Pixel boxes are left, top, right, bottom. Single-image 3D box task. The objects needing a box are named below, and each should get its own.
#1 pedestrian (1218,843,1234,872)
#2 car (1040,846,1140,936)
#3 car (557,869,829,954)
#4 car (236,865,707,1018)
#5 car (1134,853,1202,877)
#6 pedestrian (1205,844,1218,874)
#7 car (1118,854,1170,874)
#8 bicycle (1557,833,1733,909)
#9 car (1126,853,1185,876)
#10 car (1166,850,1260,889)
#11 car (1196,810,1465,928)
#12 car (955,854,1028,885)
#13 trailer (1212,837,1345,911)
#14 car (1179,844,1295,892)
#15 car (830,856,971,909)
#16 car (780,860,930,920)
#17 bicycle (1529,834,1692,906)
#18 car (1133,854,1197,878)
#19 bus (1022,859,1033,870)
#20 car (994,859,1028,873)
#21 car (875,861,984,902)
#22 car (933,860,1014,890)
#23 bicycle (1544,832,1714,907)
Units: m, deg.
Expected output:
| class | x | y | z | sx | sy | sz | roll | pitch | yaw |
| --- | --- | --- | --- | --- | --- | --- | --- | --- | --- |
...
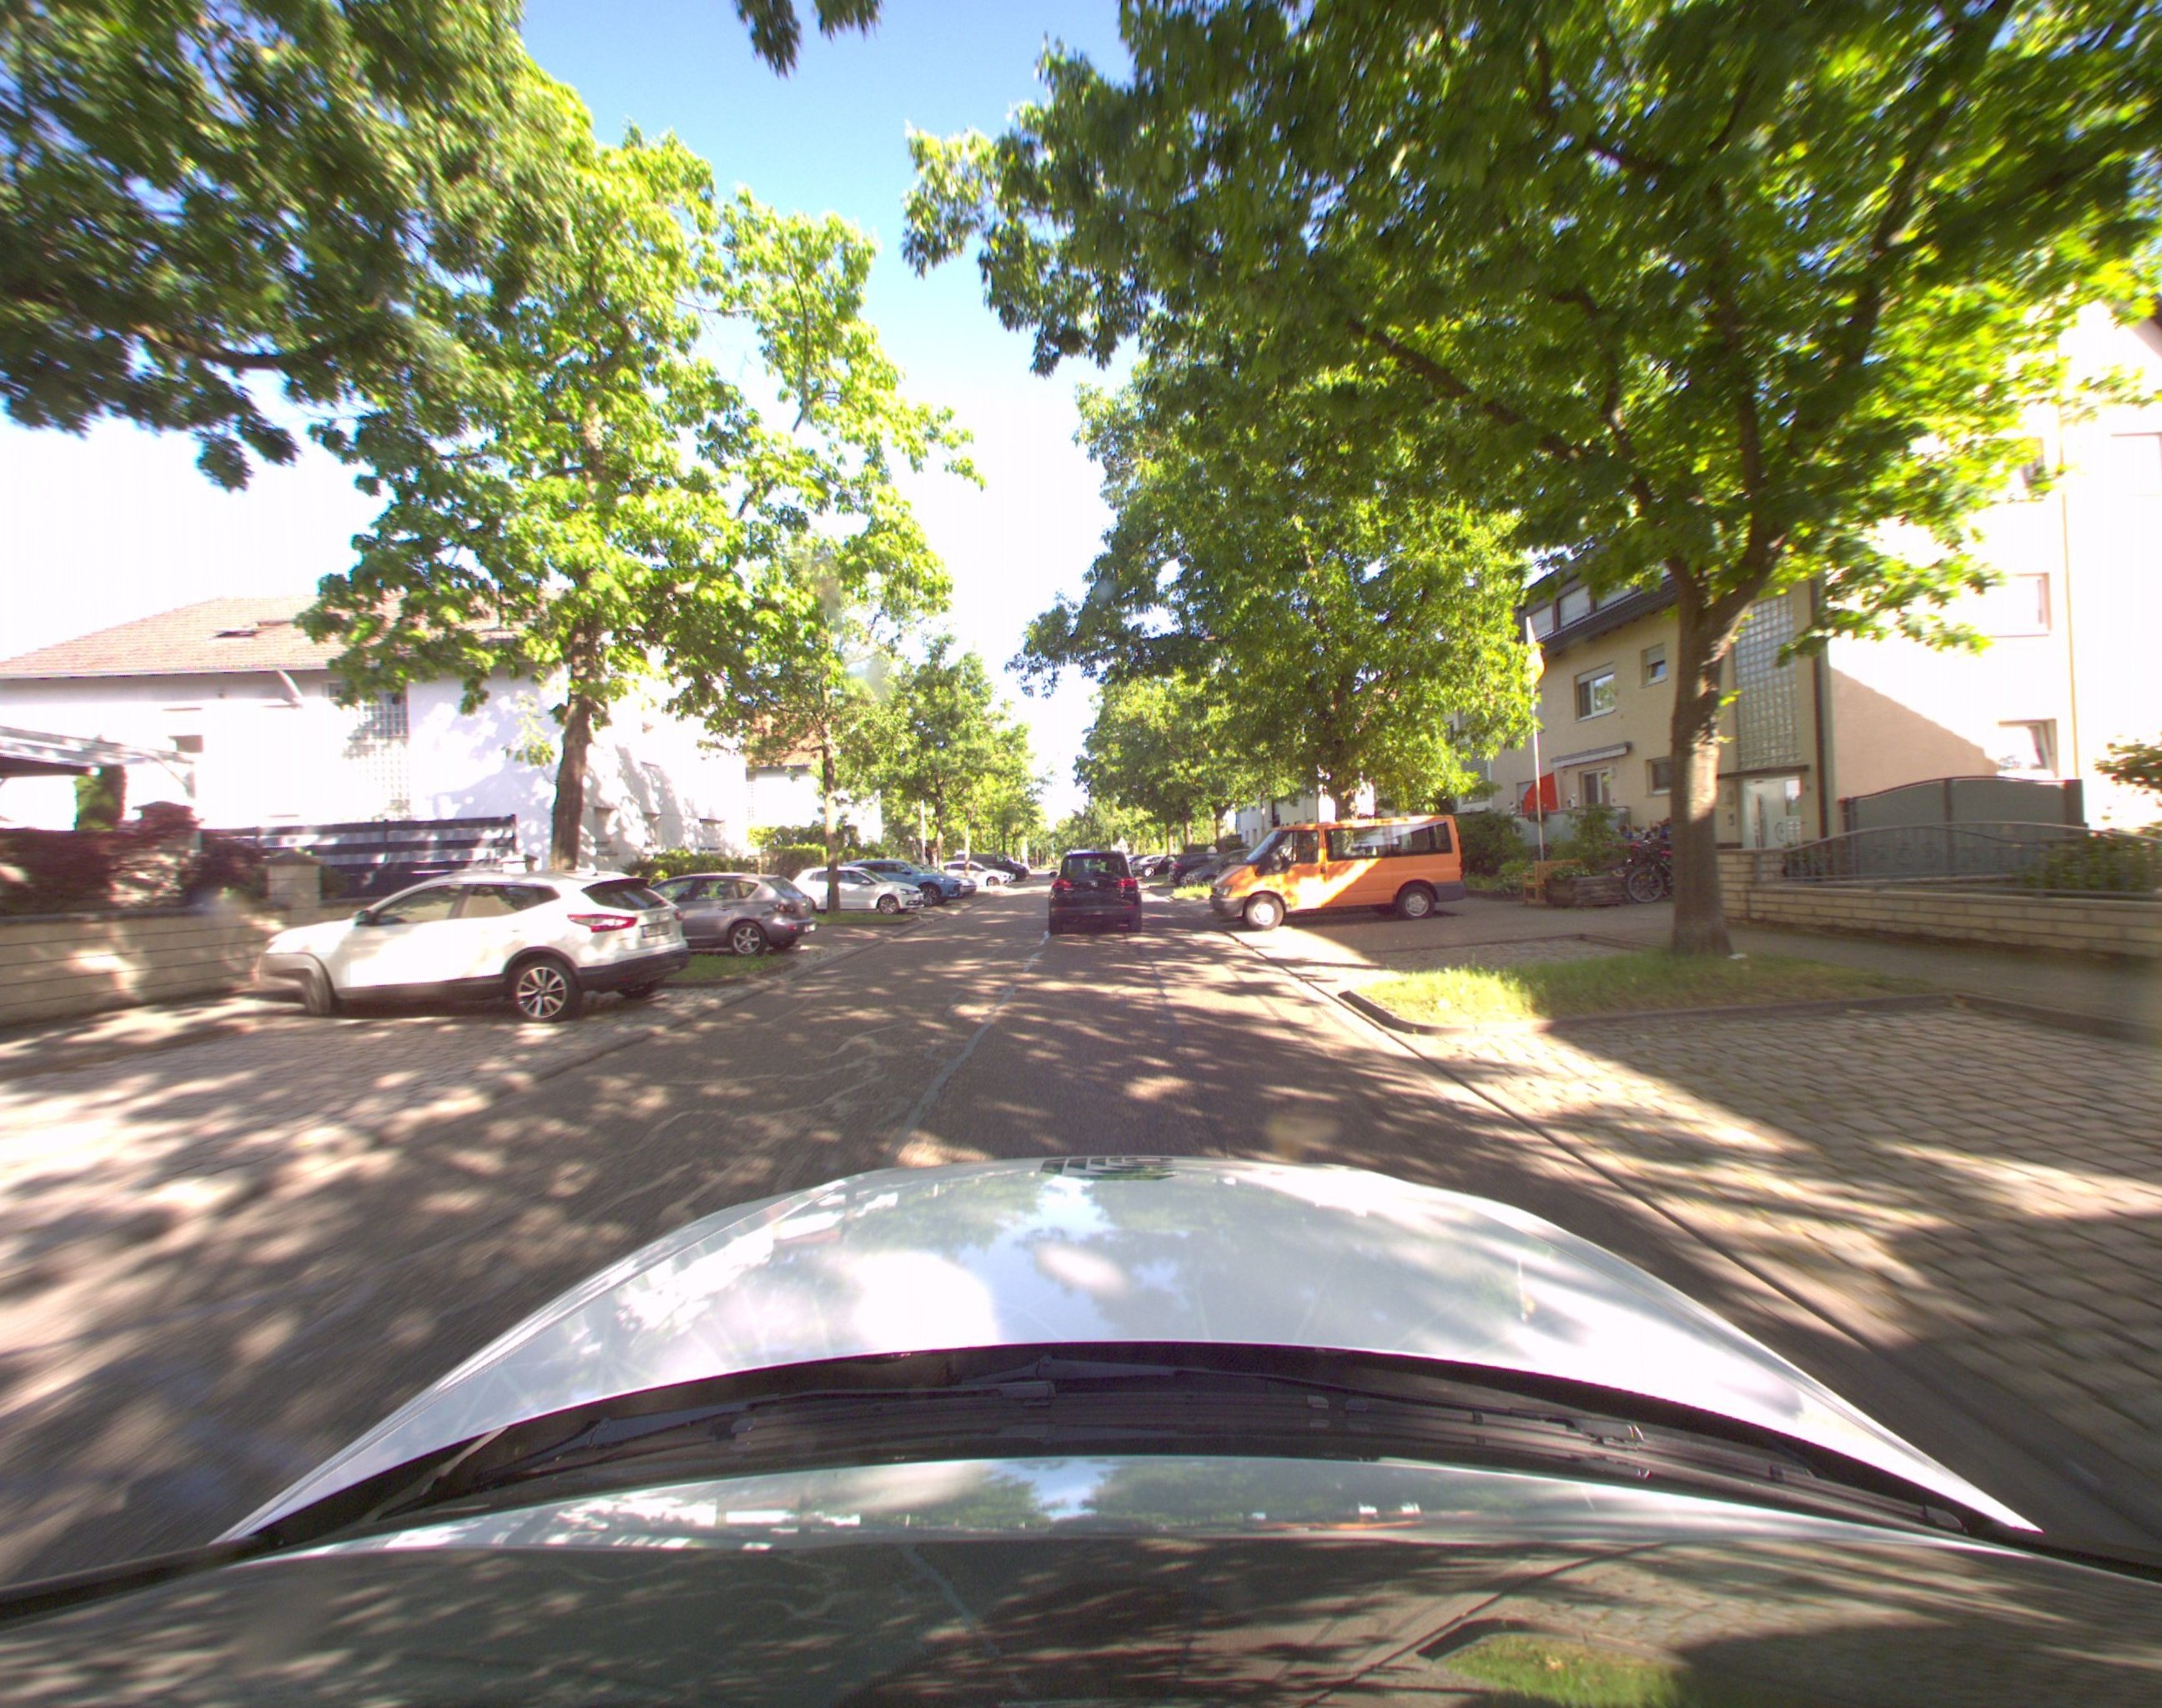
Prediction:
| class | x | y | z | sx | sy | sz | roll | pitch | yaw |
| --- | --- | --- | --- | --- | --- | --- | --- | --- | --- |
| pedestrian | 9.336 | 0.228 | 52.534 | 0.831 | 1.828 | 0.711 | -2 | -2 | 2 |
| car | 0.279 | 0.710 | 17.260 | 1.830 | 1.636 | 3.961 | -2 | -1 | 3 |
| car | -6.889 | 0.993 | 14.783 | 4.021 | 1.423 | 1.810 | 0 | 0 | 0 |
| car | -6.857 | 0.944 | 9.472 | 4.170 | 1.567 | 1.793 | -1 | 0 | 3 |
| car | 5.783 | 0.712 | 54.395 | 4.332 | 1.363 | 1.873 | -3 | -1 | 0 |
| pedestrian | 8.414 | 0.329 | 52.557 | 0.605 | 1.873 | 0.924 | -2 | -1 | 2 |
| car | 5.468 | 0.878 | 70.912 | 4.413 | 1.491 | 1.797 | -3 | 0 | 0 |
| bicycle | 10.543 | 0.319 | 15.260 | 2.848 | 1.237 | 0.468 | -4 | -2 | 1 |
| car | 5.667 | 0.778 | 62.211 | 4.262 | 1.503 | 1.797 | -3 | 0 | 0 |
| car | 5.753 | 0.690 | 35.821 | 3.868 | 1.516 | 1.661 | -2 | -1 | 1 |
| car | 4.904 | 0.287 | 16.590 | 4.801 | 2.083 | 2.087 | -2 | 0 | 1 |
| car | -6.152 | 1.040 | 56.304 | 4.766 | 1.917 | 2.017 | -2 | 0 | -2 |
| trailer | 5.140 | 0.526 | 21.391 | 2.941 | 1.664 | 1.612 | -4 | -1 | -5 |
| car | 5.851 | 0.533 | 30.899 | 3.976 | 1.624 | 1.756 | -2 | -1 | -2 |
| car | -6.396 | 1.006 | 29.164 | 4.508 | 1.631 | 1.938 | -2 | -1 | 1 |
| car | -6.784 | 1.068 | 24.738 | 3.973 | 1.595 | 1.858 | -2 | -1 | 1 |
| bicycle | 10.537 | 0.311 | 16.245 | 2.848 | 1.237 | 0.468 | -4 | -1 | 1 |
| car | 5.892 | 0.822 | 57.247 | 4.262 | 1.414 | 1.797 | -3 | 0 | 0 |
| bus | -15.251 | 2.964 | 233.140 | 2.923 | 3.004 | 5.729 | -2 | -1 | -4 |
| car | -9.044 | 1.601 | 104.955 | 4.234 | 1.623 | 1.894 | -2 | -1 | -4 |
| car | -6.253 | 1.144 | 33.941 | 4.167 | 1.492 | 1.647 | -2 | -1 | 1 |
| car | -6.007 | 1.174 | 45.788 | 4.261 | 1.478 | 1.769 | -2 | 0 | 0 |
| bicycle | 10.565 | 0.302 | 15.748 | 2.848 | 1.237 | 0.468 | -4 | -2 | 1 |
